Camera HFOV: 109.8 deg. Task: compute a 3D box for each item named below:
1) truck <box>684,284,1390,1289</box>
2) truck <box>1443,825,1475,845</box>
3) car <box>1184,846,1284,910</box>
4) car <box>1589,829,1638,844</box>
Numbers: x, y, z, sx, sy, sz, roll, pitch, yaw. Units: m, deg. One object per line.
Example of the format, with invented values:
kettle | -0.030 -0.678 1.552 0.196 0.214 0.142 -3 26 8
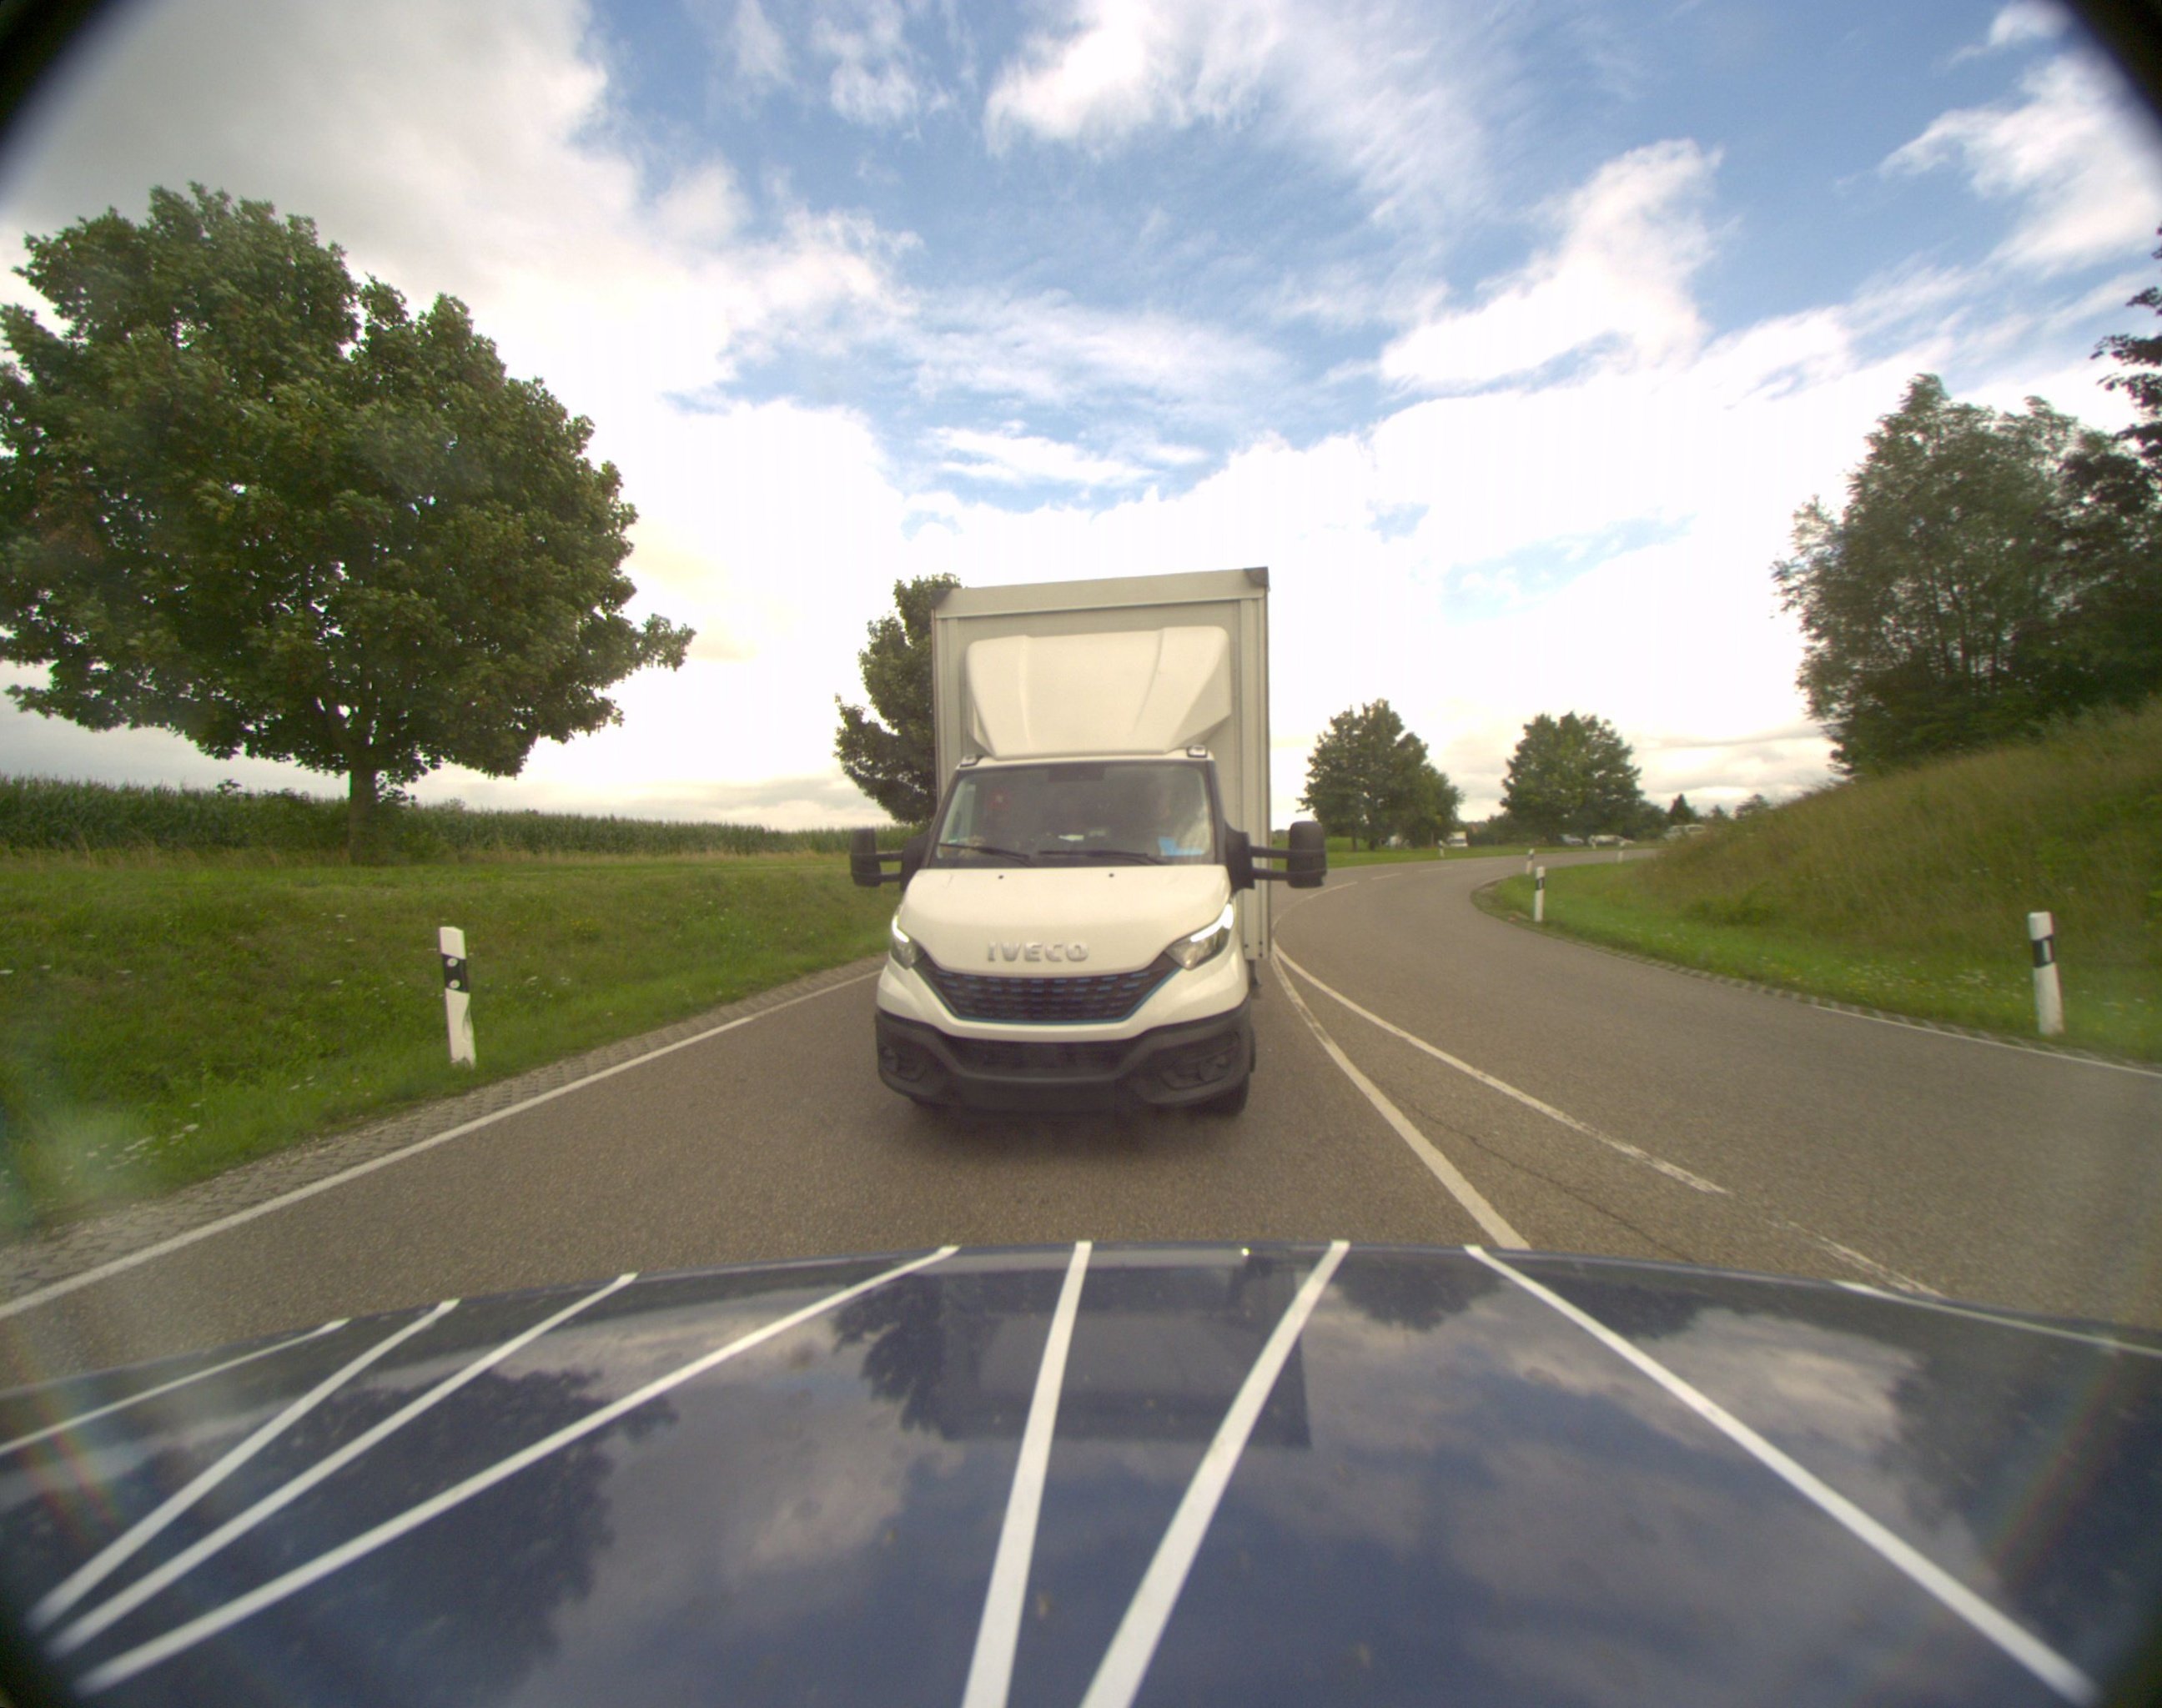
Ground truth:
truck | 0.458 -0.309 7.400 2.835 3.742 8.804 -1 2 9
truck | 48.409 -2.386 97.492 2.288 2.407 6.388 -2 0 14
car | 4.046 0.561 19.646 1.747 1.457 4.006 -2 0 22
car | 62.762 -2.071 89.626 4.393 1.576 2.003 -2 0 25
